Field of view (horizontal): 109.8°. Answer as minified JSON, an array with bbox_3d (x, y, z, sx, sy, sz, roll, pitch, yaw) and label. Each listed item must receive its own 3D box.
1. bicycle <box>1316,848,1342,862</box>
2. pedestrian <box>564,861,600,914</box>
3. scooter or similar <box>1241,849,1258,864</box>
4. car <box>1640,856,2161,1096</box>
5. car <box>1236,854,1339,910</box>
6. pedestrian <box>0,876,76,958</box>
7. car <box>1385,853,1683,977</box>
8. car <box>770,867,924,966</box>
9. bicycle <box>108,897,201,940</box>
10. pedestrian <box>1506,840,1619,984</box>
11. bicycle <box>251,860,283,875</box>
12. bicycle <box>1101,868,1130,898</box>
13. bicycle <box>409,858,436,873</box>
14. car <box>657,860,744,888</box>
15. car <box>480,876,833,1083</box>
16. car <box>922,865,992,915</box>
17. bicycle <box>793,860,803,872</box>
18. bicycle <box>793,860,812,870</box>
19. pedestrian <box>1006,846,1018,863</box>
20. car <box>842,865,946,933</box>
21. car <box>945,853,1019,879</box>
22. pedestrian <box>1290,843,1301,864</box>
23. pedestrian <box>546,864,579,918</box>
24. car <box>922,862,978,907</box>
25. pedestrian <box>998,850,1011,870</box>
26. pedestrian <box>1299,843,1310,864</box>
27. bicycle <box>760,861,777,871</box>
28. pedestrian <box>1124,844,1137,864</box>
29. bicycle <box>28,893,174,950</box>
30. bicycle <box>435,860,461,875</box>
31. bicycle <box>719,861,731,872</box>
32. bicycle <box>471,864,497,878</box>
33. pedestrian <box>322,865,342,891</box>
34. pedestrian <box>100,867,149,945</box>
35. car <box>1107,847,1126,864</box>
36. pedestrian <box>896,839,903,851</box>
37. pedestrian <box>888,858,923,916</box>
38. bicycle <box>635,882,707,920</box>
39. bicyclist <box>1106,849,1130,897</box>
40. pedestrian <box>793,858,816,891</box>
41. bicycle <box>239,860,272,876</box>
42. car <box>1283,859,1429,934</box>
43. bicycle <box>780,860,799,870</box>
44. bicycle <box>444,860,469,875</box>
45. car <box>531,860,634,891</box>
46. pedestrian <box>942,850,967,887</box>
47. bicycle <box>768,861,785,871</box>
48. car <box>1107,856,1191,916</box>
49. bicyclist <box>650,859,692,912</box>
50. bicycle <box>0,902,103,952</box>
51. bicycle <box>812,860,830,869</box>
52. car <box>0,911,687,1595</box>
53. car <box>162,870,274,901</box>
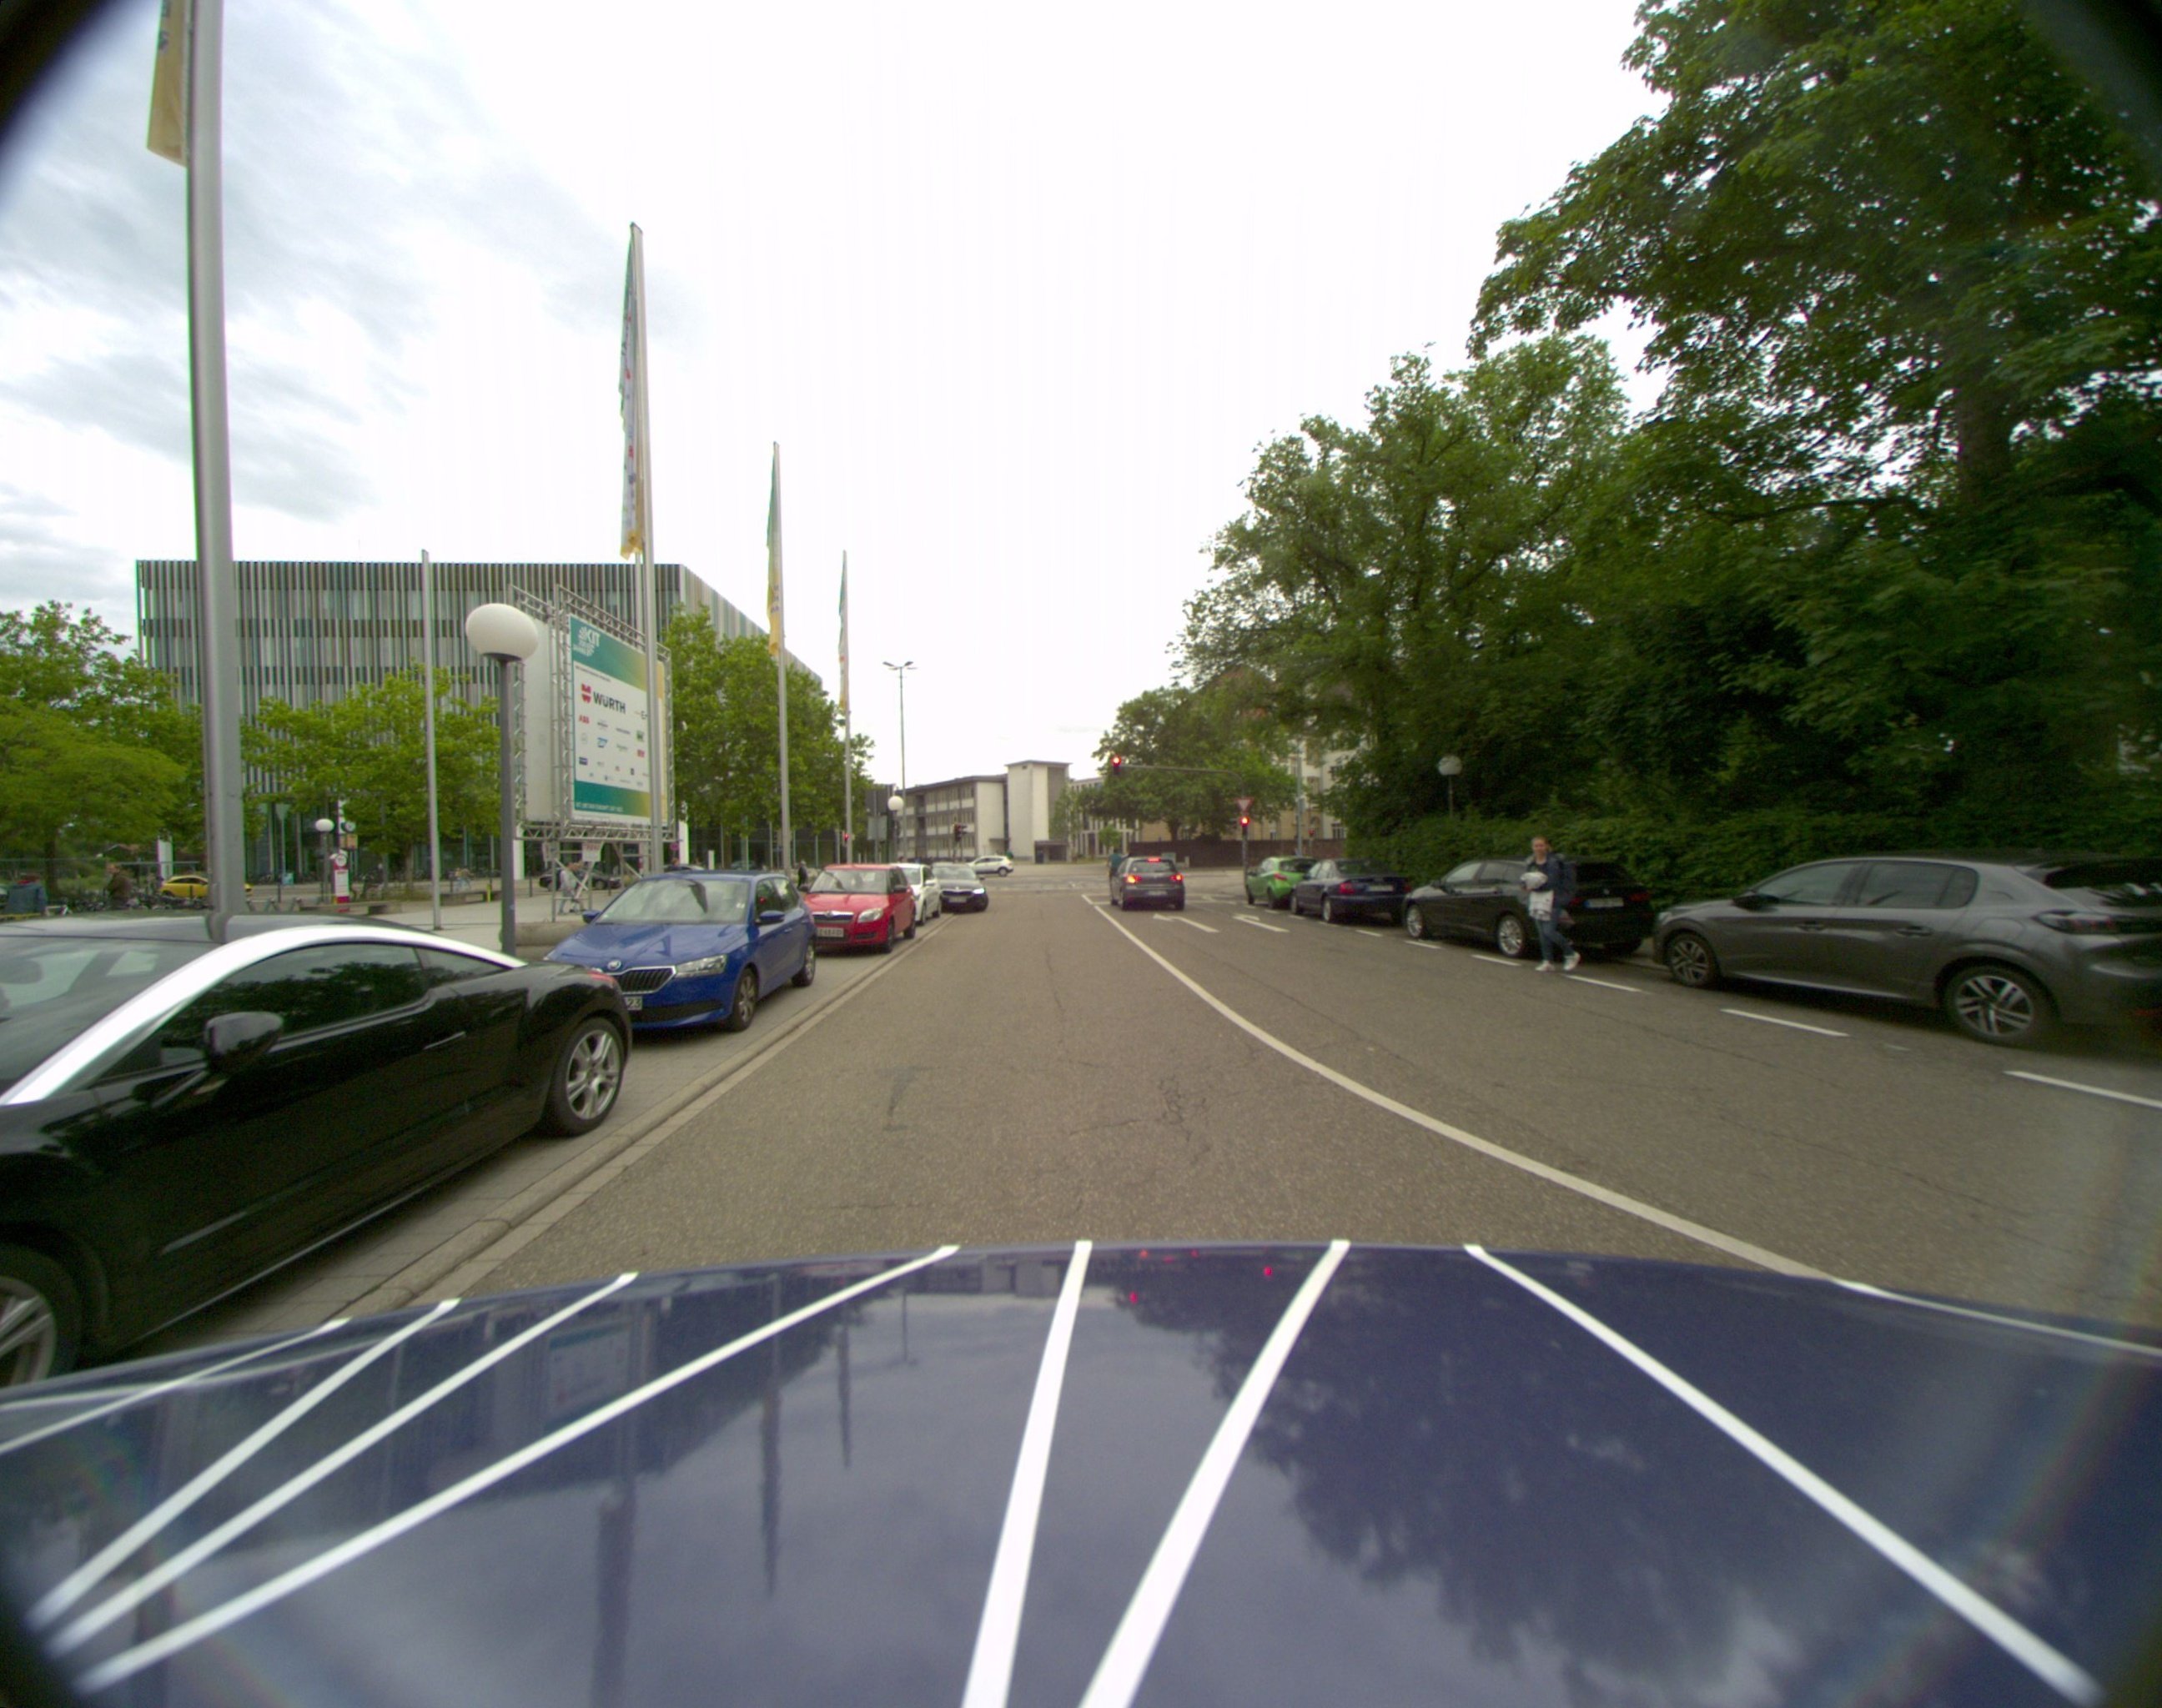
[{"bbox_3d":[21.906,0.061,67.183,2.156,1.178,0.582,-1,3,-12],"label":"bicycle"},{"bbox_3d":[-16.932,1.125,25.795,0.673,1.705,0.678,-3,1,2],"label":"pedestrian"},{"bbox_3d":[14.742,0.203,66.451,1.410,1.223,0.495,-1,3,15],"label":"scooter or similar"},{"bbox_3d":[7.387,0.790,6.824,1.767,1.463,3.823,-1,1,-4],"label":"car"},{"bbox_3d":[6.040,0.759,22.704,1.802,1.461,4.247,-1,1,-2],"label":"car"},{"bbox_3d":[-23.079,1.358,16.667,0.853,1.694,0.967,-1,0,-22],"label":"pedestrian"},{"bbox_3d":[6.753,0.794,12.048,1.803,1.551,4.529,-1,0,-4],"label":"car"},{"bbox_3d":[-4.049,1.012,13.877,1.717,1.464,4.272,1,0,-3],"label":"car"},{"bbox_3d":[-26.146,1.795,21.489,0.457,1.043,1.934,-1,0,-8],"label":"bicycle"},{"bbox_3d":[5.828,0.674,9.257,0.740,1.652,0.968,-1,0,-1],"label":"pedestrian"},{"bbox_3d":[-70.396,1.188,65.719,0.628,1.251,2.104,-3,-2,-5],"label":"bicycle"},{"bbox_3d":[1.263,1.076,28.422,0.659,1.031,1.855,-1,1,-11],"label":"bicycle"},{"bbox_3d":[-58.099,1.017,67.064,0.628,1.251,2.104,-3,-2,-5],"label":"bicycle"},{"bbox_3d":[-23.457,1.207,46.980,4.290,1.481,1.999,-2,1,-4],"label":"car"},{"bbox_3d":[-3.988,1.027,8.084,1.700,1.403,4.373,-1,1,-7],"label":"car"},{"bbox_3d":[-4.019,1.078,24.137,1.867,1.393,4.473,1,0,-13],"label":"car"},{"bbox_3d":[-24.992,1.064,67.136,0.484,1.039,1.779,-2,2,-32],"label":"bicycle"},{"bbox_3d":[-27.409,1.098,74.789,2.004,0.931,0.485,0,2,28],"label":"bicycle"},{"bbox_3d":[-6.840,0.041,75.482,0.950,1.705,0.907,-1,1,13],"label":"pedestrian"},{"bbox_3d":[-4.634,1.067,19.382,1.866,1.444,3.857,-2,0,-3],"label":"car"},{"bbox_3d":[-7.525,0.927,57.572,5.374,1.687,2.047,-2,-2,-9],"label":"car"},{"bbox_3d":[18.022,-0.066,63.805,0.670,1.729,0.735,-1,2,-6],"label":"pedestrian"},{"bbox_3d":[-16.971,1.209,24.881,0.657,1.705,0.586,-1,-1,2],"label":"pedestrian"},{"bbox_3d":[-4.957,1.107,29.223,1.626,1.493,4.103,1,1,-3],"label":"car"},{"bbox_3d":[-6.917,0.537,68.534,0.895,1.777,0.845,-2,-2,-25],"label":"pedestrian"},{"bbox_3d":[18.798,-0.056,63.901,0.642,1.684,0.779,-2,2,-8],"label":"pedestrian"},{"bbox_3d":[-29.892,1.172,72.716,2.004,0.930,0.485,-1,1,36],"label":"bicycle"},{"bbox_3d":[4.206,-0.027,64.739,0.809,1.654,0.791,-2,-2,-9],"label":"pedestrian"},{"bbox_3d":[-22.140,1.491,17.257,0.457,1.163,2.413,-2,-2,-8],"label":"bicycle"},{"bbox_3d":[-55.980,1.197,67.220,0.628,1.251,2.104,-3,-2,-5],"label":"bicycle"},{"bbox_3d":[-32.986,1.158,70.377,0.485,1.039,1.911,-3,2,-42],"label":"bicycle"},{"bbox_3d":[-53.044,1.526,67.516,0.628,1.251,2.105,-3,-2,1],"label":"bicycle"},{"bbox_3d":[-53.014,1.707,53.782,0.588,1.799,0.809,-1,1,1],"label":"pedestrian"},{"bbox_3d":[-23.338,1.249,18.536,0.510,1.823,0.675,0,2,37],"label":"pedestrian"},{"bbox_3d":[4.824,0.214,102.923,1.998,1.570,4.410,-9,-7,8],"label":"car"},{"bbox_3d":[-28.074,-1.392,117.507,0.777,1.779,0.759,-2,1,-34],"label":"pedestrian"},{"bbox_3d":[-5.560,1.033,24.092,0.792,1.777,0.822,-1,1,9],"label":"pedestrian"},{"bbox_3d":[-13.048,1.464,24.215,0.874,1.087,1.805,-2,0,40],"label":"bicycle"},{"bbox_3d":[1.389,0.687,28.475,0.659,1.769,0.983,-1,1,-11],"label":"bicyclist"},{"bbox_3d":[-14.064,1.046,38.609,0.756,1.617,0.794,-1,1,11],"label":"pedestrian"},{"bbox_3d":[-71.285,1.226,65.622,0.628,1.251,2.104,-3,-2,-5],"label":"bicycle"},{"bbox_3d":[6.127,0.875,17.485,1.802,1.400,4.336,-1,1,0],"label":"car"},{"bbox_3d":[-28.298,1.104,73.771,2.004,0.931,0.485,0,2,28],"label":"bicycle"},{"bbox_3d":[-55.321,1.170,67.318,0.628,1.251,2.104,-3,-2,-5],"label":"bicycle"},{"bbox_3d":[-30.709,1.314,46.939,4.838,1.653,1.999,-2,1,-6],"label":"car"},{"bbox_3d":[-5.675,0.644,34.194,1.044,1.610,0.657,-1,1,-12],"label":"pedestrian"},{"bbox_3d":[-29.399,1.168,73.271,2.004,0.930,0.550,-1,1,36],"label":"bicycle"},{"bbox_3d":[1.853,0.846,21.967,1.788,1.488,4.166,-1,1,-4],"label":"car"},{"bbox_3d":[-13.053,1.003,24.216,0.874,1.631,0.870,-1,0,40],"label":"bicyclist"},{"bbox_3d":[-25.028,1.748,18.494,0.457,1.043,1.933,-1,0,-17],"label":"bicycle"},{"bbox_3d":[-26.192,1.042,76.623,2.004,0.931,0.485,0,2,28],"label":"bicycle"},{"bbox_3d":[-3.538,1.080,2.925,1.853,1.433,4.418,-2,-1,-2],"label":"car"},{"bbox_3d":[-51.716,1.866,45.624,4.192,1.608,1.999,-2,1,-5],"label":"car"}]
